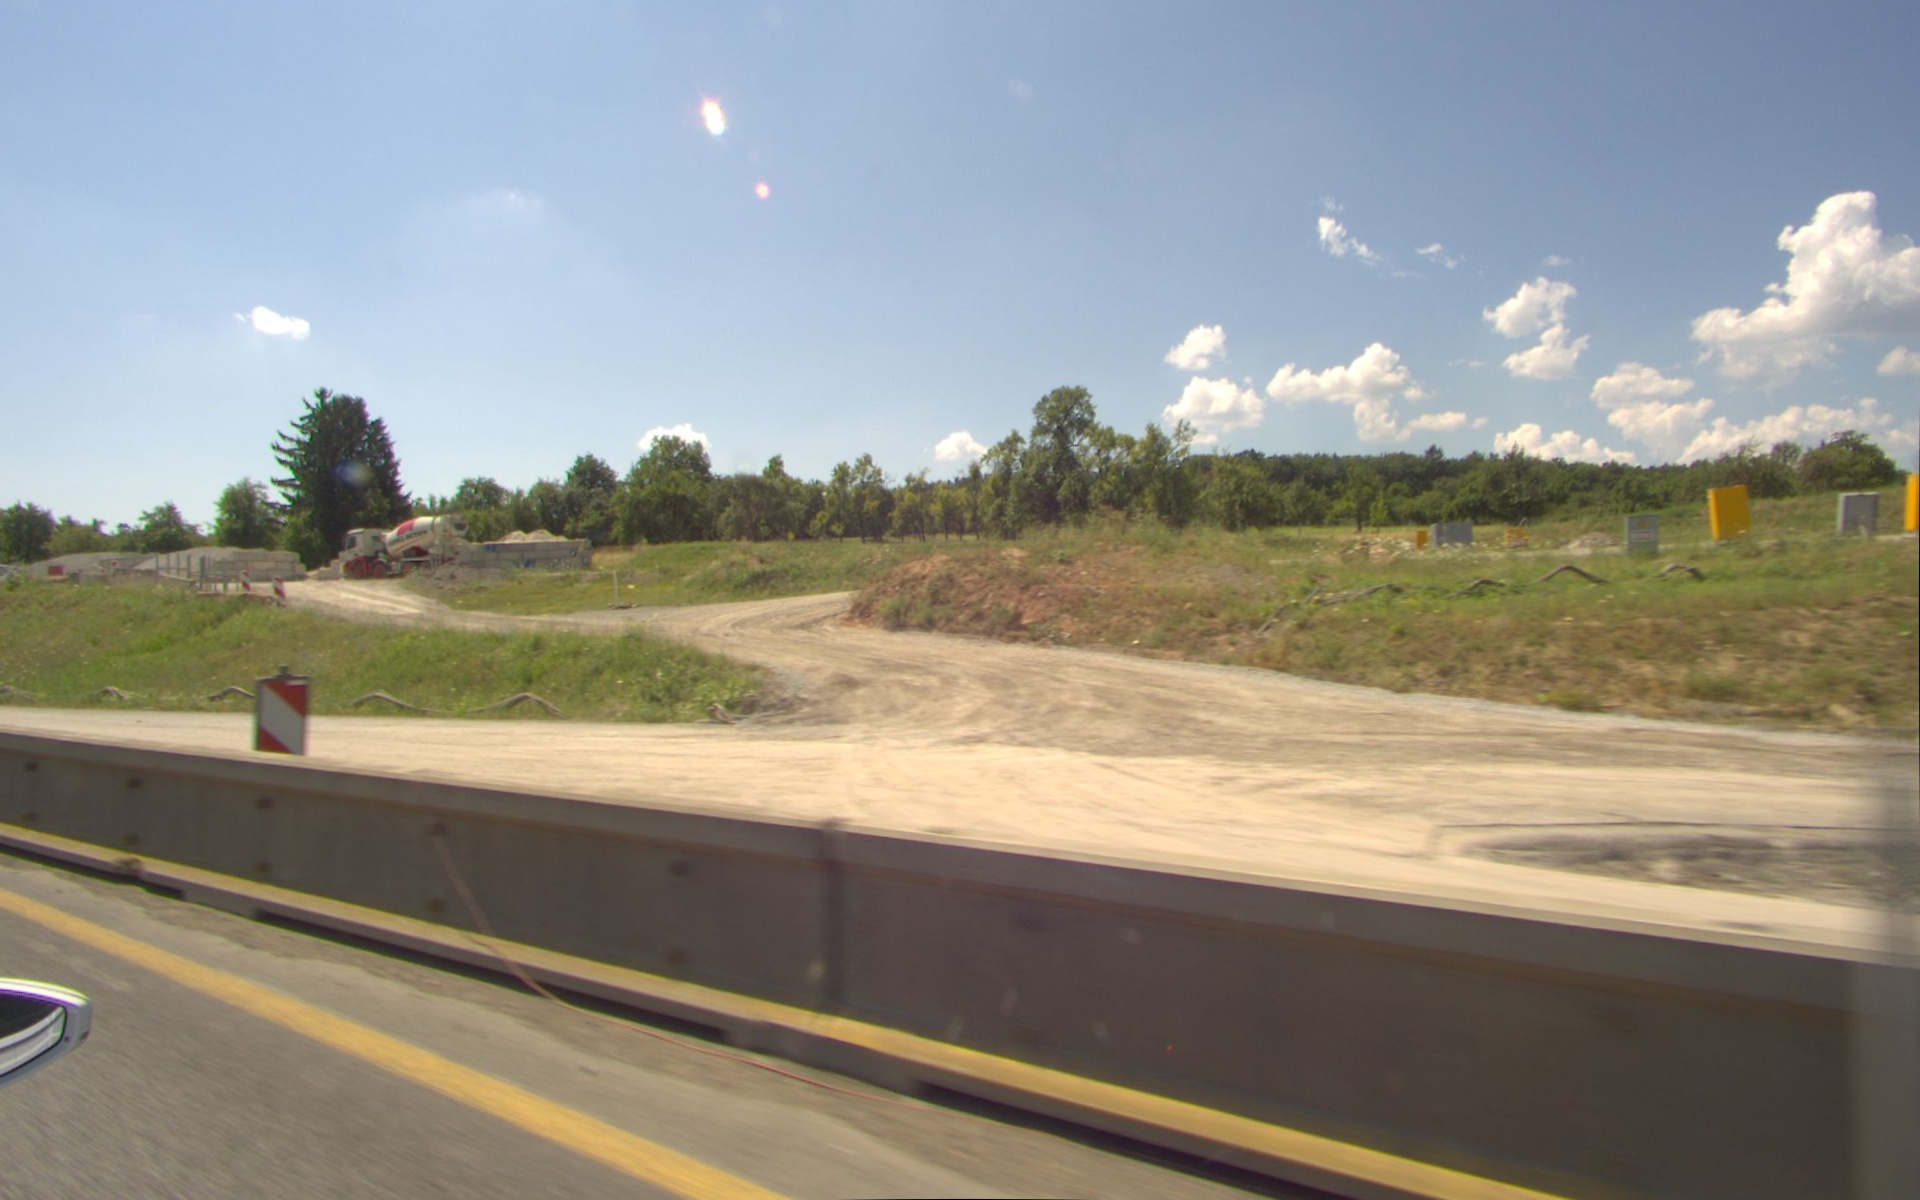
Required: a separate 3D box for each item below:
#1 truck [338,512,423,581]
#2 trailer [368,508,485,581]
[{"bbox_3d":[-37.061,-3.368,64.100,4.029,4.150,2.748,-1,0,21],"label":"truck"},{"bbox_3d":[-33.413,-3.402,62.704,6.629,4.168,2.759,-1,0,21],"label":"trailer"}]
